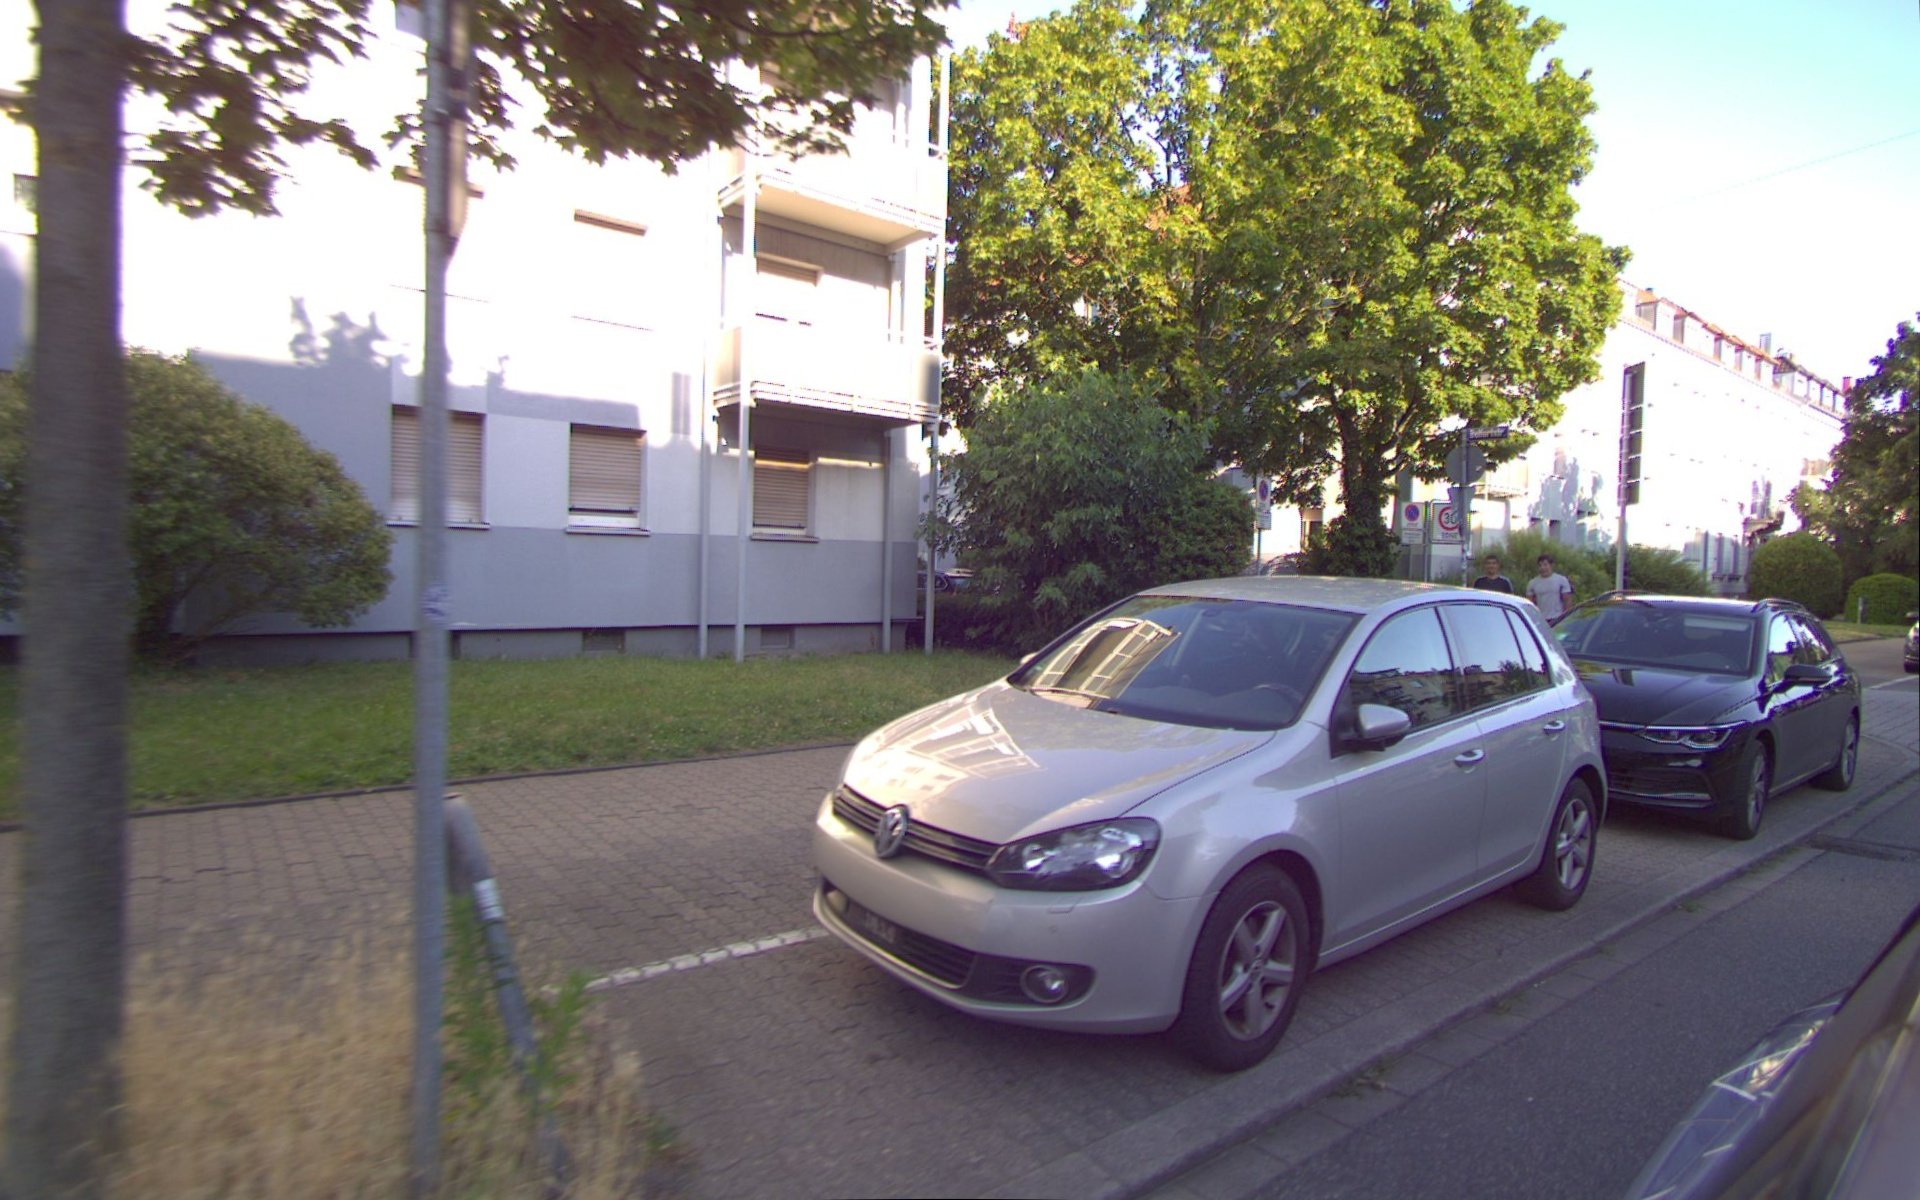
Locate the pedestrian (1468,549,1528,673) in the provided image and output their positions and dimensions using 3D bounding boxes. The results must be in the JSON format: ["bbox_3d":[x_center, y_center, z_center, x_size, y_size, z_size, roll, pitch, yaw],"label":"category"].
[{"bbox_3d":[7.734,0.144,14.560,0.398,1.749,0.593,0,2,-38],"label":"pedestrian"}]

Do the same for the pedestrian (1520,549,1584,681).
[{"bbox_3d":[8.074,0.184,13.807,0.398,1.749,0.593,0,2,-38],"label":"pedestrian"}]

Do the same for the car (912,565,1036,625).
[{"bbox_3d":[0.297,-0.147,24.253,1.450,1.265,2.954,0,3,-37],"label":"car"}]

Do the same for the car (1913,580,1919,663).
[{"bbox_3d":[19.415,0.381,18.953,3.930,1.605,1.798,0,4,-41],"label":"car"}]

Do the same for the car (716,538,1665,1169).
[{"bbox_3d":[1.301,0.567,4.383,4.227,1.461,1.739,0,3,-39],"label":"car"}]

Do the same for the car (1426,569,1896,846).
[{"bbox_3d":[5.404,0.582,7.582,4.261,1.461,1.739,0,3,-39],"label":"car"}]
